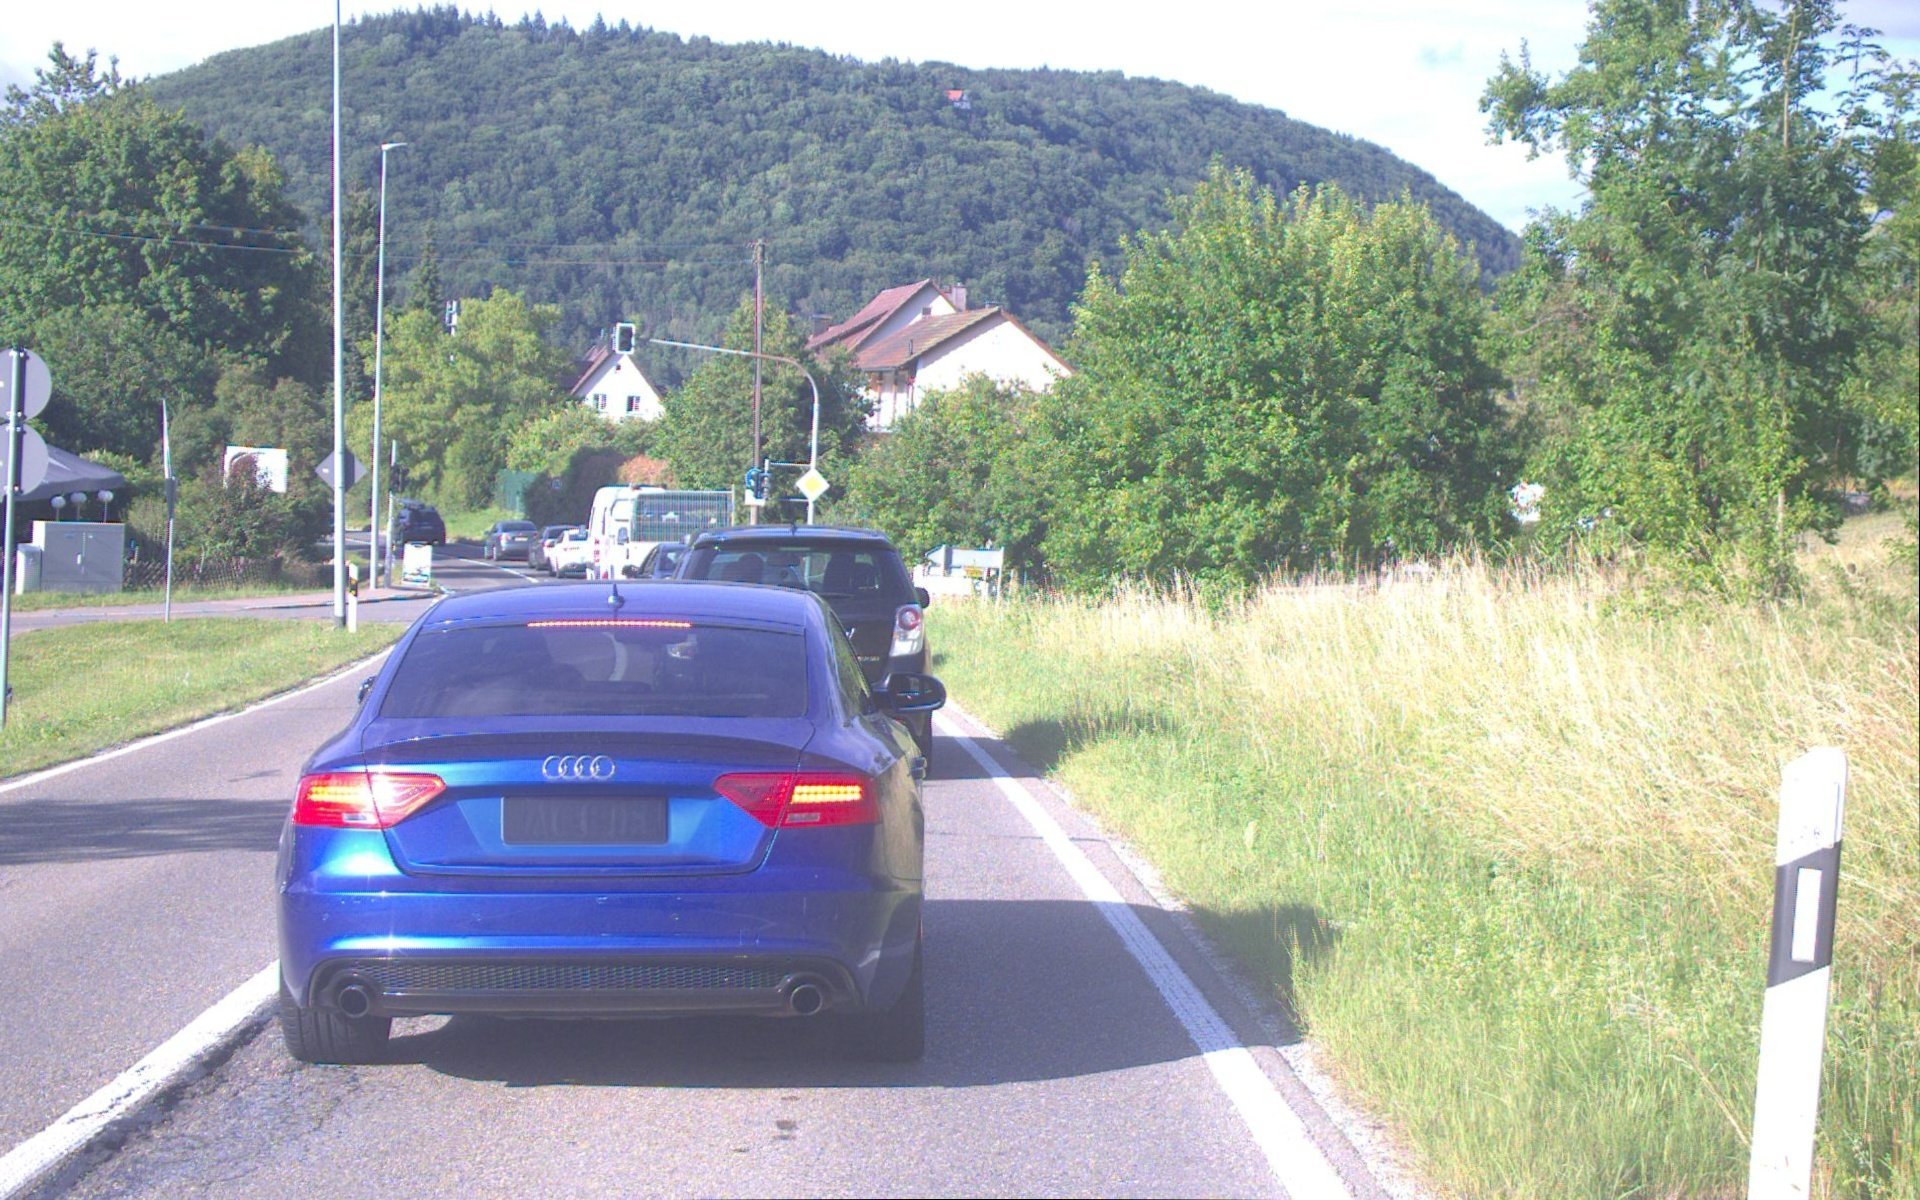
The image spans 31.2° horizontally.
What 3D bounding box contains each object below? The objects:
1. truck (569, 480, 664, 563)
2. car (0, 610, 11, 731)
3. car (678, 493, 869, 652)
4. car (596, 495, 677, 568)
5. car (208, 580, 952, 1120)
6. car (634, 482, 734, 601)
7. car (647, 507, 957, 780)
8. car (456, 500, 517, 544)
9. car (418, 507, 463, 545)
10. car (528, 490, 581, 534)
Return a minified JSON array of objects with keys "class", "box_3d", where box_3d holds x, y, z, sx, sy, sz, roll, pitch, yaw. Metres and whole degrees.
[{"class":"truck","box_3d":[-8.569,-1.915,85.367,1.697,1.947,5.924,1,0,-12]},{"class":"car","box_3d":[-14.355,0.836,42.268,4.815,1.488,1.880,1,0,9]},{"class":"car","box_3d":[-2.005,-0.302,38.138,1.805,1.634,4.463,1,0,1]},{"class":"car","box_3d":[-7.570,-1.584,80.196,1.746,1.634,4.001,1,0,-7]},{"class":"car","box_3d":[-0.987,0.630,10.858,1.795,1.383,4.000,0,0,2]},{"class":"car","box_3d":[-5.339,-1.115,66.162,1.746,2.188,4.001,1,0,-7]},{"class":"car","box_3d":[-0.966,0.249,22.930,1.746,1.634,4.000,1,0,2]},{"class":"car","box_3d":[-17.004,-2.790,123.296,1.697,1.485,3.528,1,0,-15]},{"class":"car","box_3d":[-22.346,-3.157,147.780,1.625,1.571,3.680,1,0,-12]},{"class":"car","box_3d":[-14.650,-3.163,124.174,1.697,1.485,3.528,1,0,-10]}]
